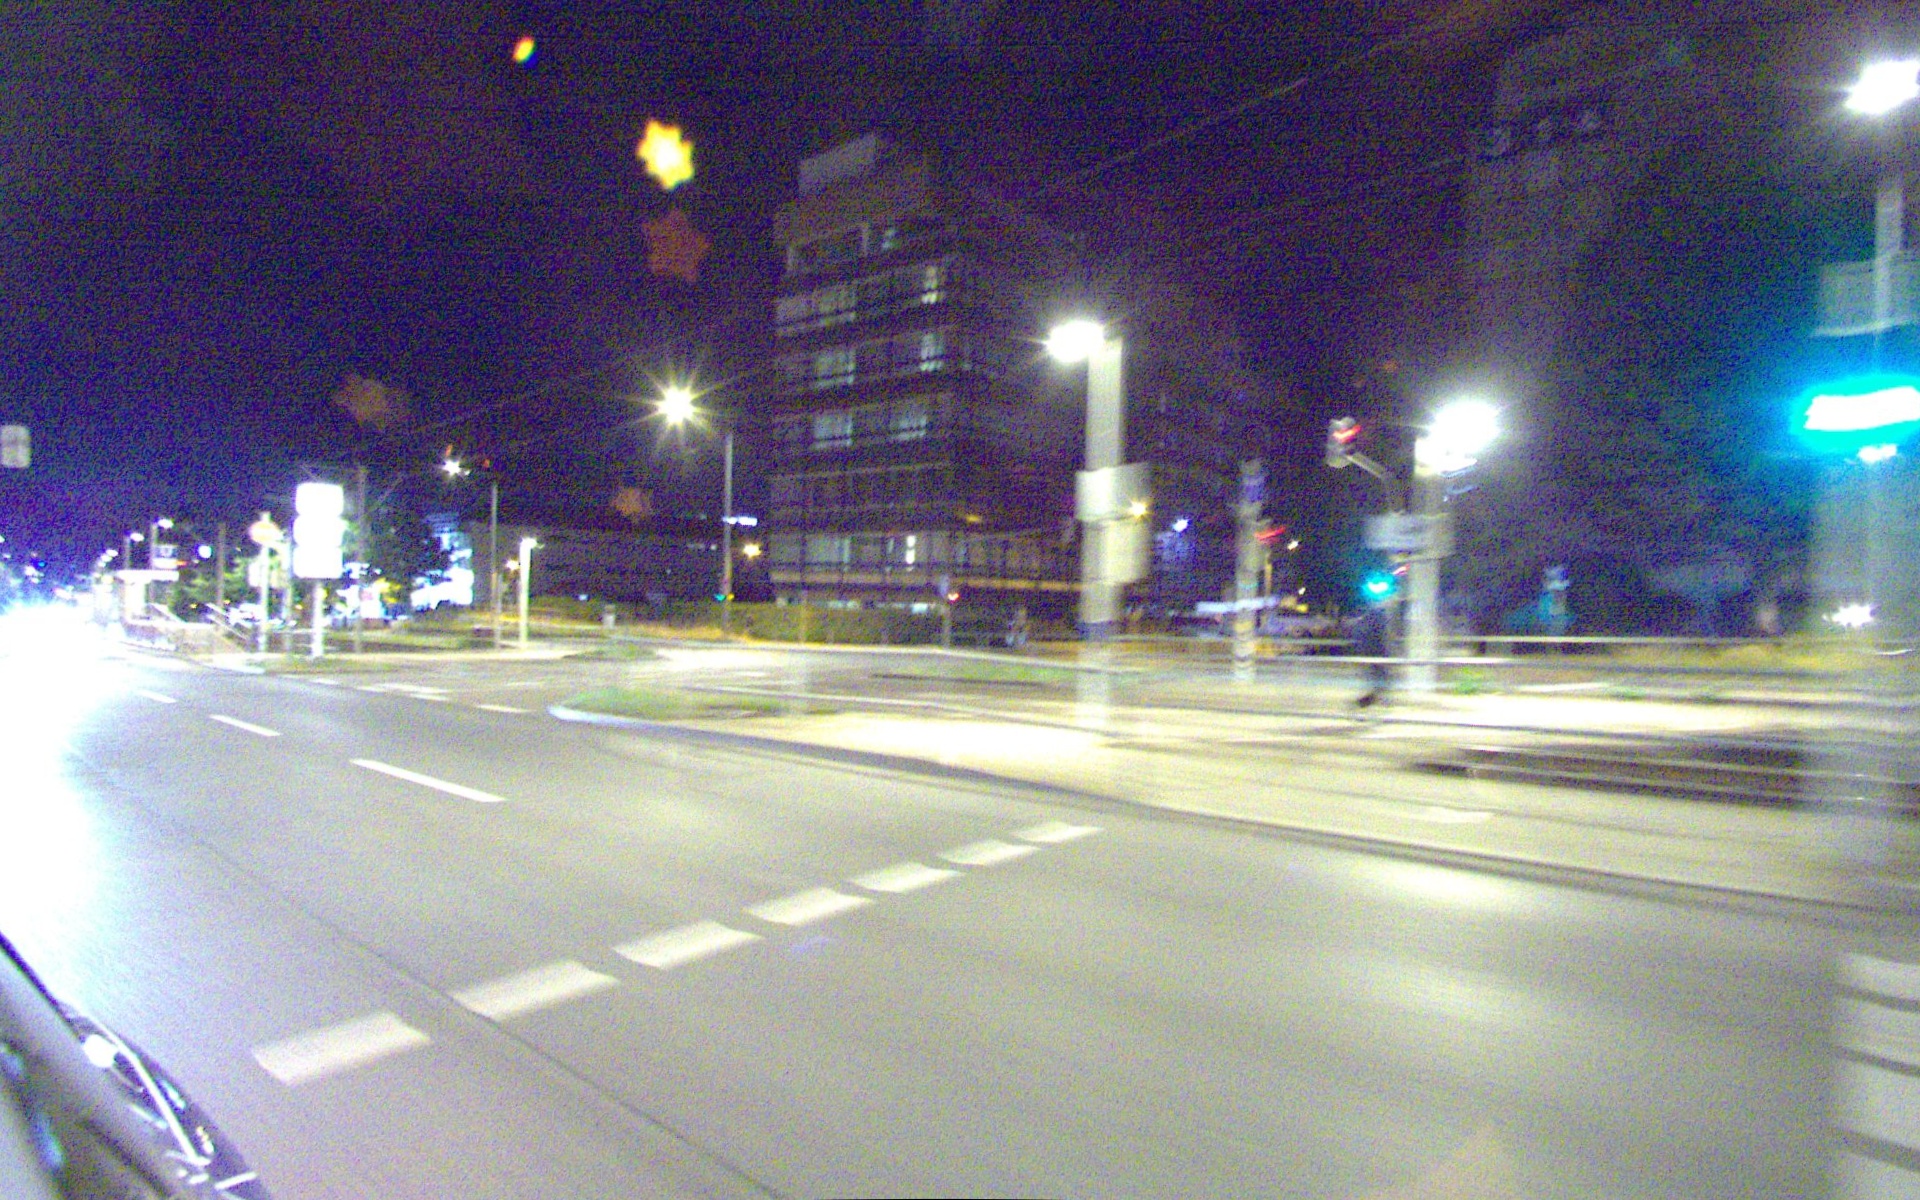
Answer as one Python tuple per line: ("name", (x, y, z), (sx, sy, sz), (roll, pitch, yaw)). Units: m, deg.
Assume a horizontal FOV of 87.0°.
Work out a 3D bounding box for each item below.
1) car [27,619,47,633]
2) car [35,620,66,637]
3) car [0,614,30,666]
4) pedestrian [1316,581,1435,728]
("car", (-115.740, 3.229, 126.902), (1.802, 1.719, 4.003), (0, -1, -44))
("car", (-87.164, 2.701, 96.967), (3.719, 1.630, 1.882), (-1, -1, 44))
("car", (-29.738, 1.219, 30.949), (1.832, 1.502, 3.564), (0, -1, -41))
("pedestrian", (5.019, 0.657, 12.268), (1.038, 1.701, 0.823), (1, -2, -12))
